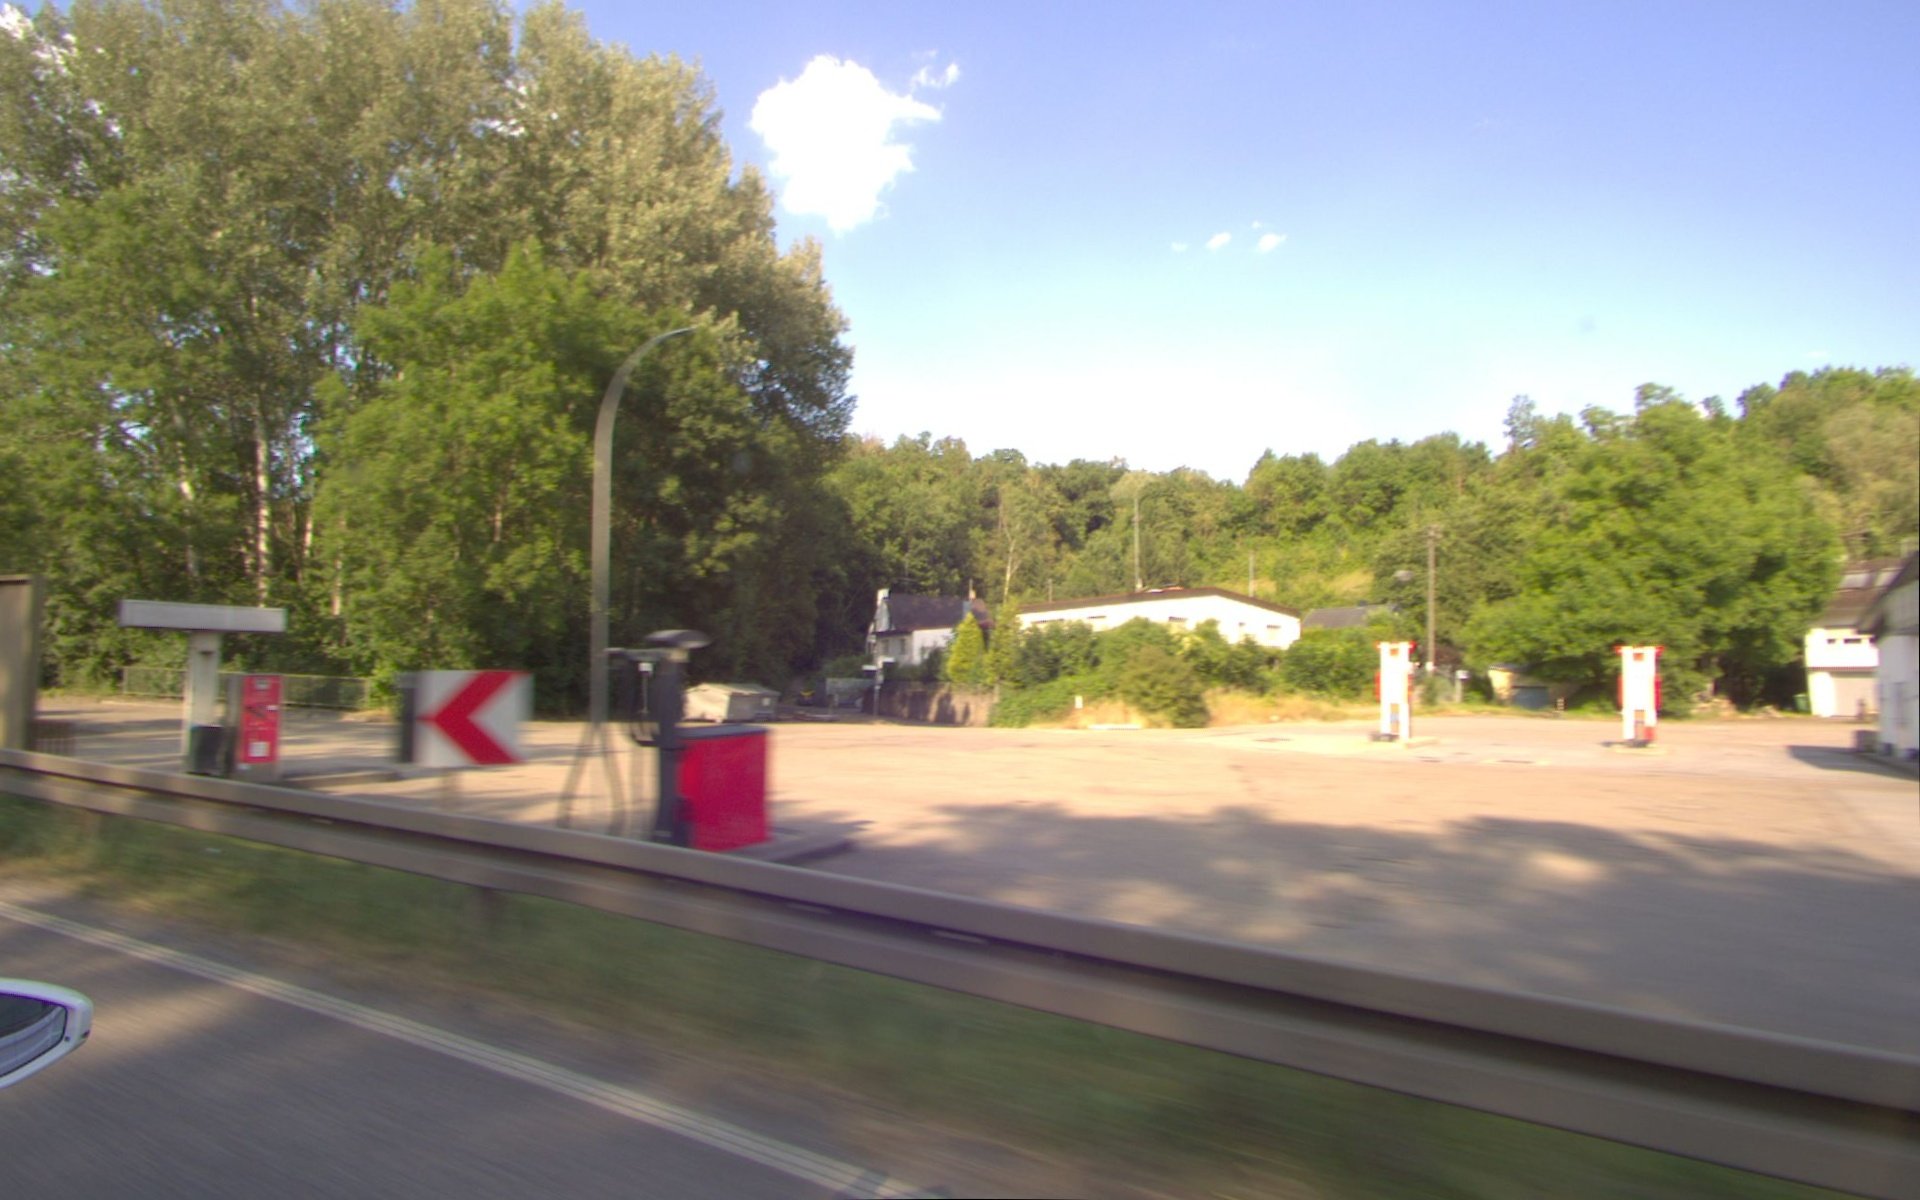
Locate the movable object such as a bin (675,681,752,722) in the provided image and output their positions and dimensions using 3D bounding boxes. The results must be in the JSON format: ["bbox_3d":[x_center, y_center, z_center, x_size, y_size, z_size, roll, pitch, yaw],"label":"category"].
[{"bbox_3d":[-9.339,3.832,37.909,2.514,1.436,1.269,0,-6,24],"label":"movable object such as a bin"}]
